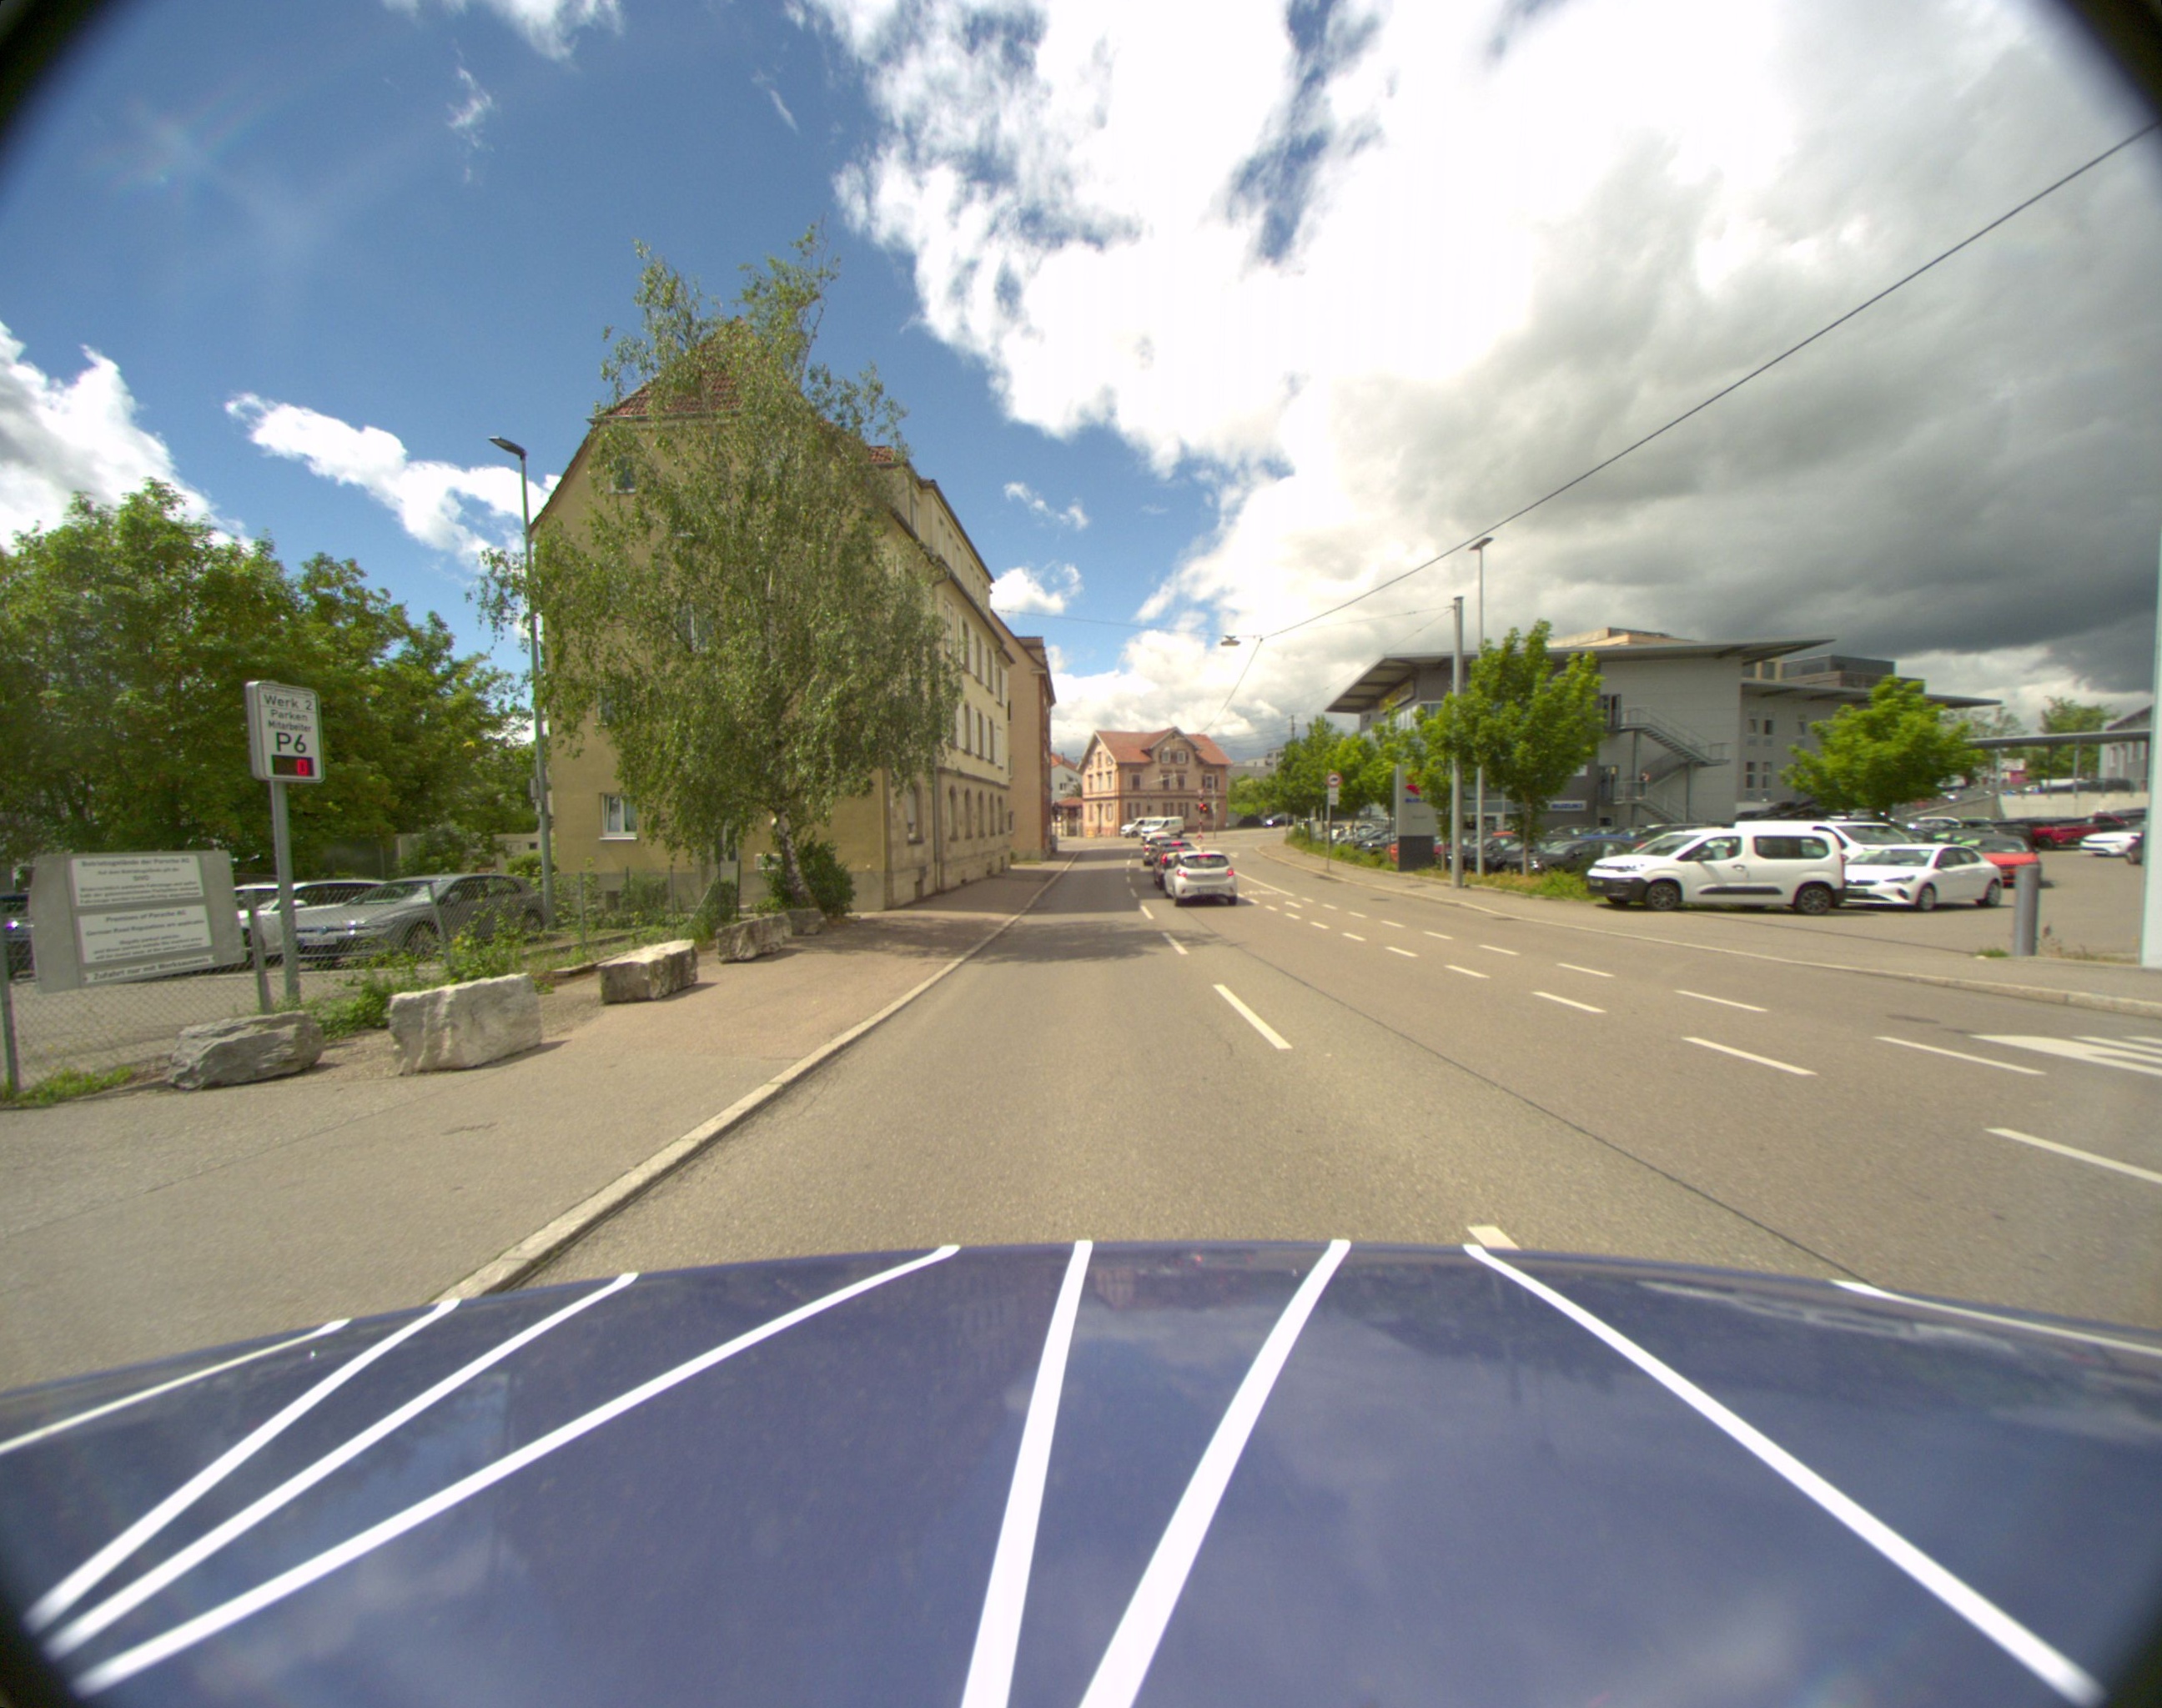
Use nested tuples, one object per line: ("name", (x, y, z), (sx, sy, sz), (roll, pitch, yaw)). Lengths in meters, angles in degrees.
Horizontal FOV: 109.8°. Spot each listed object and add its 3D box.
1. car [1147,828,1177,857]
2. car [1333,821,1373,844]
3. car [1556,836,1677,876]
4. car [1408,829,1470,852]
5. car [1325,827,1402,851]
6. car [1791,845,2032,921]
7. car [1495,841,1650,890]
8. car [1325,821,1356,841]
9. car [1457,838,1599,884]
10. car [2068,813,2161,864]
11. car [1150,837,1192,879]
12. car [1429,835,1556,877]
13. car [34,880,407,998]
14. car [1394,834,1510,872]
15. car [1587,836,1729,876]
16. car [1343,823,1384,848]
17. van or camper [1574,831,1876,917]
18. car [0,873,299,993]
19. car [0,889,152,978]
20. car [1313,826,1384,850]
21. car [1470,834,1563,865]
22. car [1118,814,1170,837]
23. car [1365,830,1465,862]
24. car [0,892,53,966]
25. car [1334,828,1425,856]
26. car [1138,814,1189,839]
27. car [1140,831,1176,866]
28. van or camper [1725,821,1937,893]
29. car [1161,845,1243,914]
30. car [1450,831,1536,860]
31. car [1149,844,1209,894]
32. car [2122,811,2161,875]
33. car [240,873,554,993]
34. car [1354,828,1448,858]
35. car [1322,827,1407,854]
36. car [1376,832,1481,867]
("car", (5.096, -0.779, 48.257), (1.722, 1.573, 3.999), (-3, 3, 5))
("car", (20.891, -1.683, 58.518), (1.946, 1.554, 4.305), (-3, 3, 7))
("car", (19.461, 0.059, 27.715), (3.323, 1.366, 1.517), (0, 2, 1))
("car", (21.669, -0.830, 46.083), (3.017, 1.366, 1.517), (0, 2, 3))
("car", (17.267, -0.943, 46.625), (4.075, 1.387, 1.813), (0, 2, 6))
("car", (18.962, 0.575, 17.388), (4.526, 1.428, 2.009), (-2, 3, -18))
("car", (15.288, 0.326, 23.762), (3.708, 1.401, 1.794), (-1, 2, -4))
("car", (21.485, -1.924, 63.106), (1.946, 1.466, 4.307), (-2, 3, 13))
("car", (15.259, 0.212, 26.076), (3.843, 1.453, 1.772), (0, 2, 0))
("car", (44.801, -0.703, 31.797), (3.994, 1.801, 2.000), (-4, 4, 9))
("car", (4.072, 0.122, 34.799), (1.722, 1.573, 4.250), (-3, 3, 5))
("car", (15.505, 0.064, 28.779), (3.823, 1.489, 1.812), (0, 2, -1))
("car", (-14.839, 1.346, 13.585), (1.875, 1.443, 4.278), (-2, 2, -4))
("car", (15.167, -0.051, 31.215), (3.858, 1.489, 1.812), (0, 2, 1))
("car", (19.048, 0.051, 25.178), (3.472, 1.247, 1.544), (0, 2, 1))
("car", (20.060, -1.358, 54.097), (1.946, 1.554, 3.996), (-2, 3, 10))
("van or camper", (13.772, 0.396, 16.541), (4.677, 1.740, 2.000), (-1, 2, 6))
("car", (-17.425, 1.309, 13.904), (1.875, 1.615, 4.278), (-2, 2, -4))
("car", (-20.485, 1.546, 13.864), (1.875, 1.442, 4.278), (-2, 2, -4))
("car", (17.266, -1.018, 49.225), (3.995, 1.489, 1.813), (0, 2, 6))
("car", (19.561, -0.214, 34.213), (3.323, 1.366, 1.517), (0, 2, 1))
("car", (6.487, -2.956, 78.238), (4.820, 2.001, 1.996), (-6, 4, -21))
("car", (15.972, -0.415, 36.510), (3.991, 1.489, 1.812), (0, 2, 2))
("car", (-22.850, 1.617, 14.063), (1.875, 1.442, 4.278), (-2, 2, -4))
("car", (16.255, -0.669, 41.548), (4.289, 1.489, 1.812), (0, 2, 2))
("car", (7.810, -2.584, 71.293), (1.994, 1.982, 4.997), (0, 5, 44))
("car", (4.137, -0.363, 41.016), (1.722, 1.573, 4.317), (-3, 3, 5))
("van or camper", (23.009, 0.006, 23.657), (1.998, 2.002, 4.684), (0, 2, 2))
("car", (3.397, 0.651, 22.008), (1.723, 1.573, 3.998), (-3, 3, 1))
("car", (20.034, -0.445, 37.033), (3.323, 1.366, 1.517), (0, 2, 1))
("car", (3.501, 0.492, 27.552), (1.723, 1.476, 3.321), (-3, 3, 1))
("car", (38.878, -0.449, 26.829), (4.006, 1.937, 1.994), (-7, 5, -43))
("car", (-11.901, 1.259, 13.703), (1.720, 1.383, 4.140), (-4, 3, 1))
("car", (16.410, -0.587, 39.104), (4.064, 1.489, 1.812), (0, 2, 2))
("car", (16.299, -0.813, 43.849), (4.217, 1.489, 1.812), (0, 2, 2))
("car", (15.439, -0.220, 33.894), (3.836, 1.489, 1.812), (0, 2, 2))
